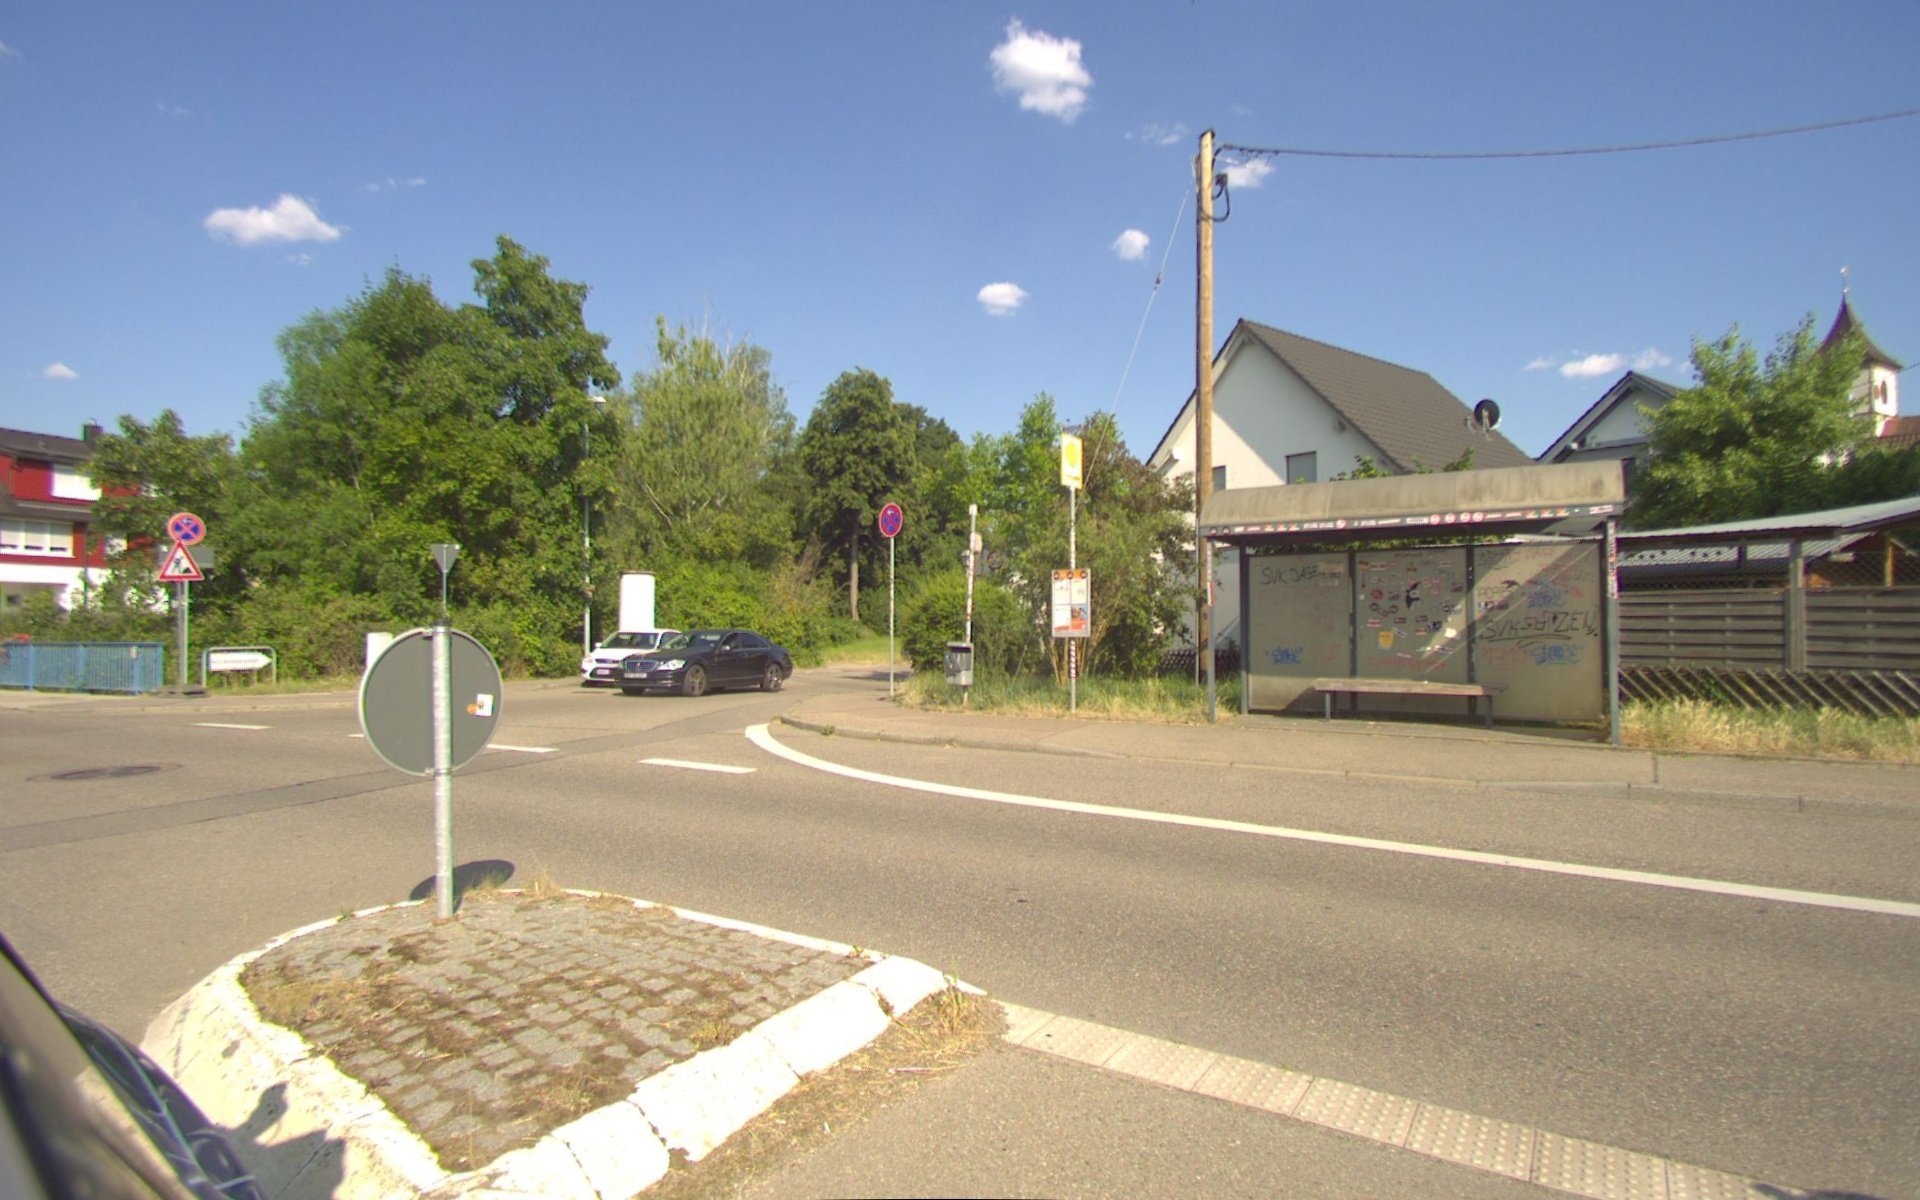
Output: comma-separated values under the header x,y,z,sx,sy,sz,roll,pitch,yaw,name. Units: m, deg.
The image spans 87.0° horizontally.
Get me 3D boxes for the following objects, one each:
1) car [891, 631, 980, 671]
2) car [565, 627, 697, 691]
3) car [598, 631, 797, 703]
x,y,z,sx,sy,sz,roll,pitch,yaw,name
-1.046,2.237,45.015,1.770,1.672,3.988,-1,-2,40,car
-8.418,1.479,26.316,1.838,1.503,4.270,0,-2,3,car
-5.793,1.433,23.038,1.761,1.442,4.805,0,-2,24,car
